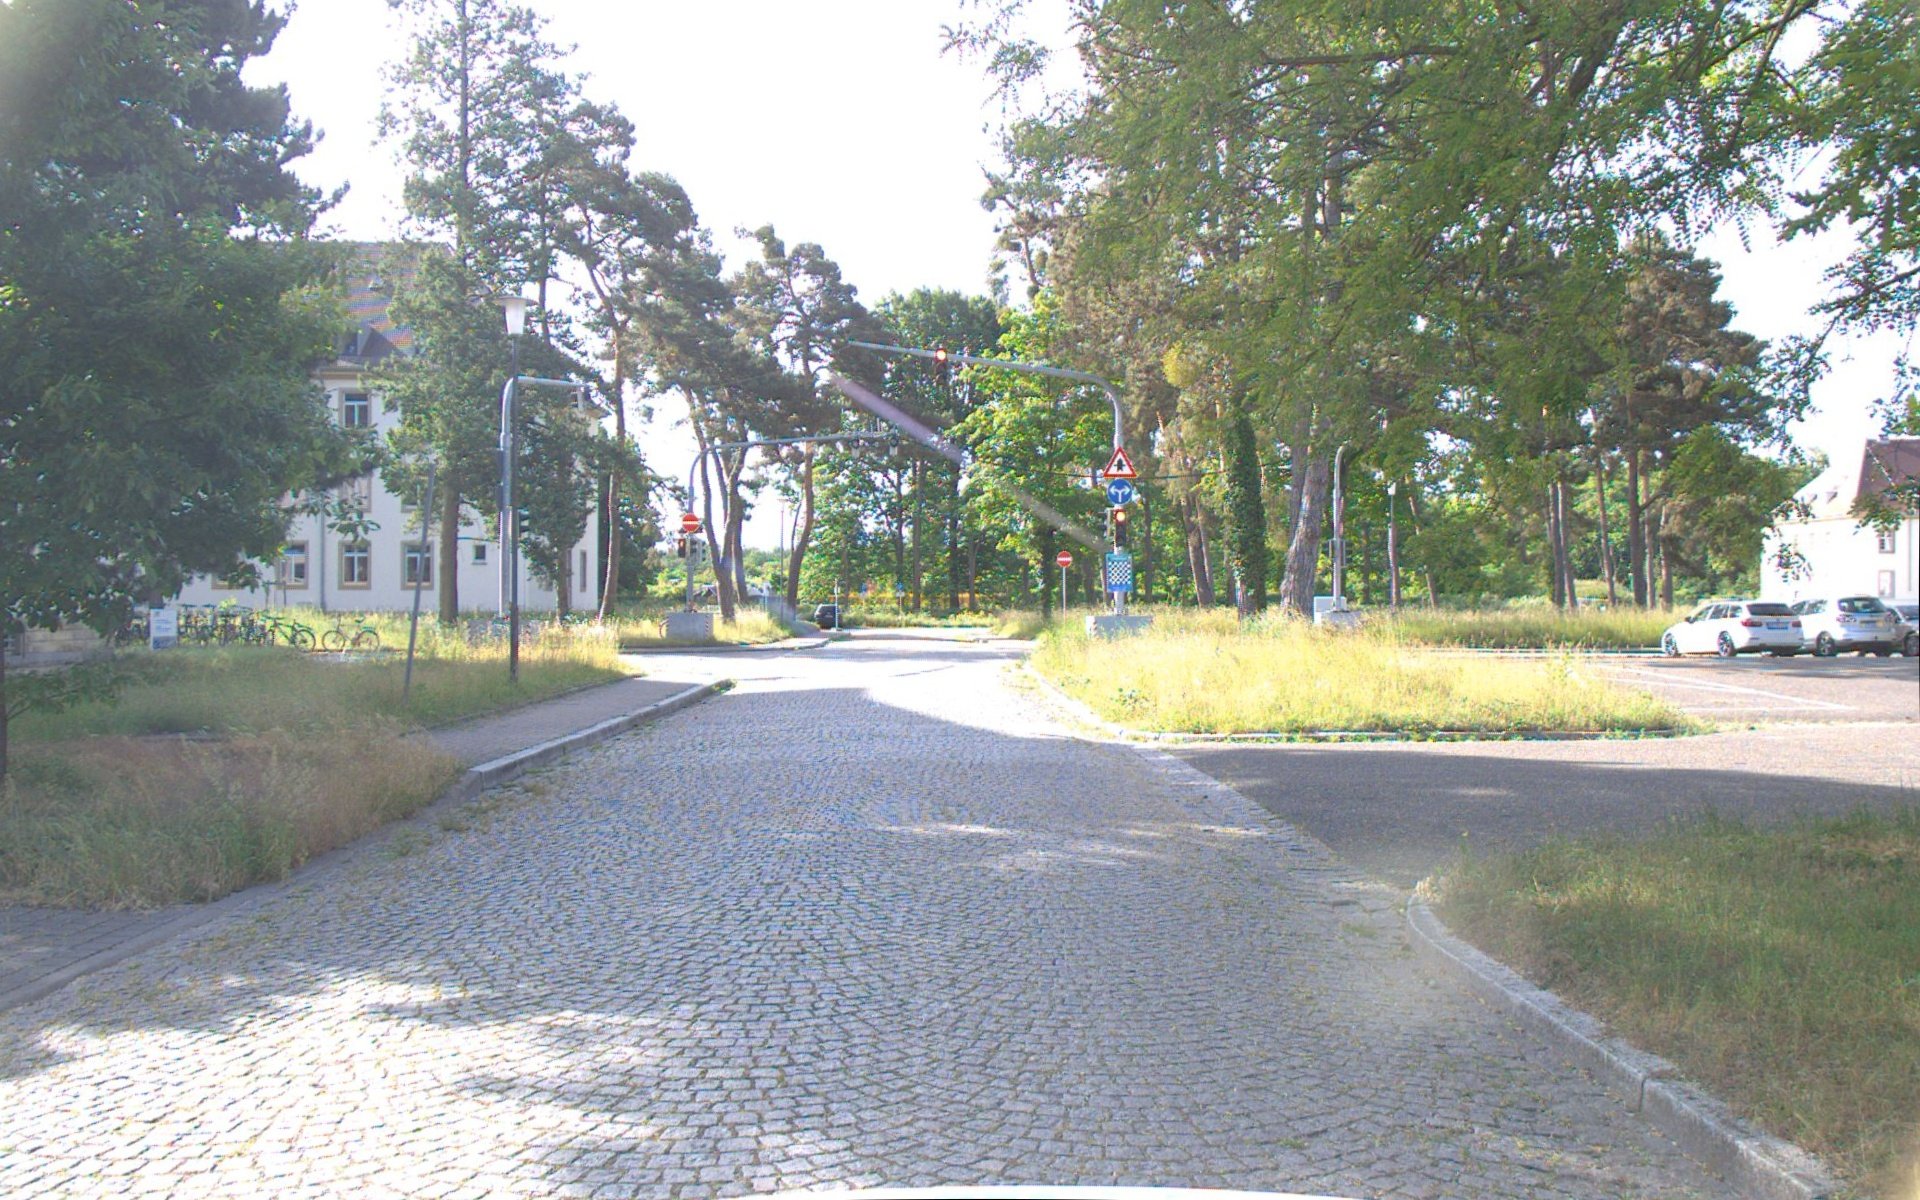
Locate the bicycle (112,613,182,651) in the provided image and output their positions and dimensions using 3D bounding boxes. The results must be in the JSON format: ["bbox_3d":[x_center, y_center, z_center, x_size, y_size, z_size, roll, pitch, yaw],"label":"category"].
[{"bbox_3d":[-24.061,0.929,48.993,0.882,1.065,2.553,0,0,-2],"label":"bicycle"}]

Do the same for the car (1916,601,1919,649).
[{"bbox_3d":[27.711,0.677,44.079,1.697,1.335,4.327,-1,0,-5],"label":"car"}]

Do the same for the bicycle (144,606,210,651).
[{"bbox_3d":[-23.177,0.829,49.022,0.809,1.303,2.553,0,0,-2],"label":"bicycle"}]

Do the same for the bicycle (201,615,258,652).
[{"bbox_3d":[-21.641,0.980,49.031,0.809,1.065,2.123,0,0,-2],"label":"bicycle"}]

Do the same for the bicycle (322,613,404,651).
[{"bbox_3d":[-17.335,0.933,48.056,2.076,1.065,0.828,0,0,-5],"label":"bicycle"}]

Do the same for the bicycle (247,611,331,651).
[{"bbox_3d":[-19.416,0.891,47.895,2.076,1.128,0.828,0,0,-5],"label":"bicycle"}]

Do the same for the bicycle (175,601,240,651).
[{"bbox_3d":[-22.426,0.753,49.348,0.809,1.462,2.553,0,0,-2],"label":"bicycle"}]

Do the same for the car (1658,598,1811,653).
[{"bbox_3d":[20.014,0.630,42.941,1.697,1.335,4.327,0,0,-5],"label":"car"}]

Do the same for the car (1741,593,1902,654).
[{"bbox_3d":[22.477,0.594,43.328,1.697,1.502,4.327,0,0,-5],"label":"car"}]

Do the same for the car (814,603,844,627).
[{"bbox_3d":[-8.361,0.922,105.802,1.808,1.512,3.997,0,0,-4],"label":"car"}]

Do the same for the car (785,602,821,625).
[{"bbox_3d":[-10.463,0.915,110.498,1.745,1.516,3.757,0,0,5],"label":"car"}]

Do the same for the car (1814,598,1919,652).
[{"bbox_3d":[24.720,0.628,43.790,1.697,1.335,4.327,-1,0,-5],"label":"car"}]

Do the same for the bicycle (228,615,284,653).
[{"bbox_3d":[-20.875,0.997,49.099,0.809,1.065,2.123,0,0,-2],"label":"bicycle"}]
